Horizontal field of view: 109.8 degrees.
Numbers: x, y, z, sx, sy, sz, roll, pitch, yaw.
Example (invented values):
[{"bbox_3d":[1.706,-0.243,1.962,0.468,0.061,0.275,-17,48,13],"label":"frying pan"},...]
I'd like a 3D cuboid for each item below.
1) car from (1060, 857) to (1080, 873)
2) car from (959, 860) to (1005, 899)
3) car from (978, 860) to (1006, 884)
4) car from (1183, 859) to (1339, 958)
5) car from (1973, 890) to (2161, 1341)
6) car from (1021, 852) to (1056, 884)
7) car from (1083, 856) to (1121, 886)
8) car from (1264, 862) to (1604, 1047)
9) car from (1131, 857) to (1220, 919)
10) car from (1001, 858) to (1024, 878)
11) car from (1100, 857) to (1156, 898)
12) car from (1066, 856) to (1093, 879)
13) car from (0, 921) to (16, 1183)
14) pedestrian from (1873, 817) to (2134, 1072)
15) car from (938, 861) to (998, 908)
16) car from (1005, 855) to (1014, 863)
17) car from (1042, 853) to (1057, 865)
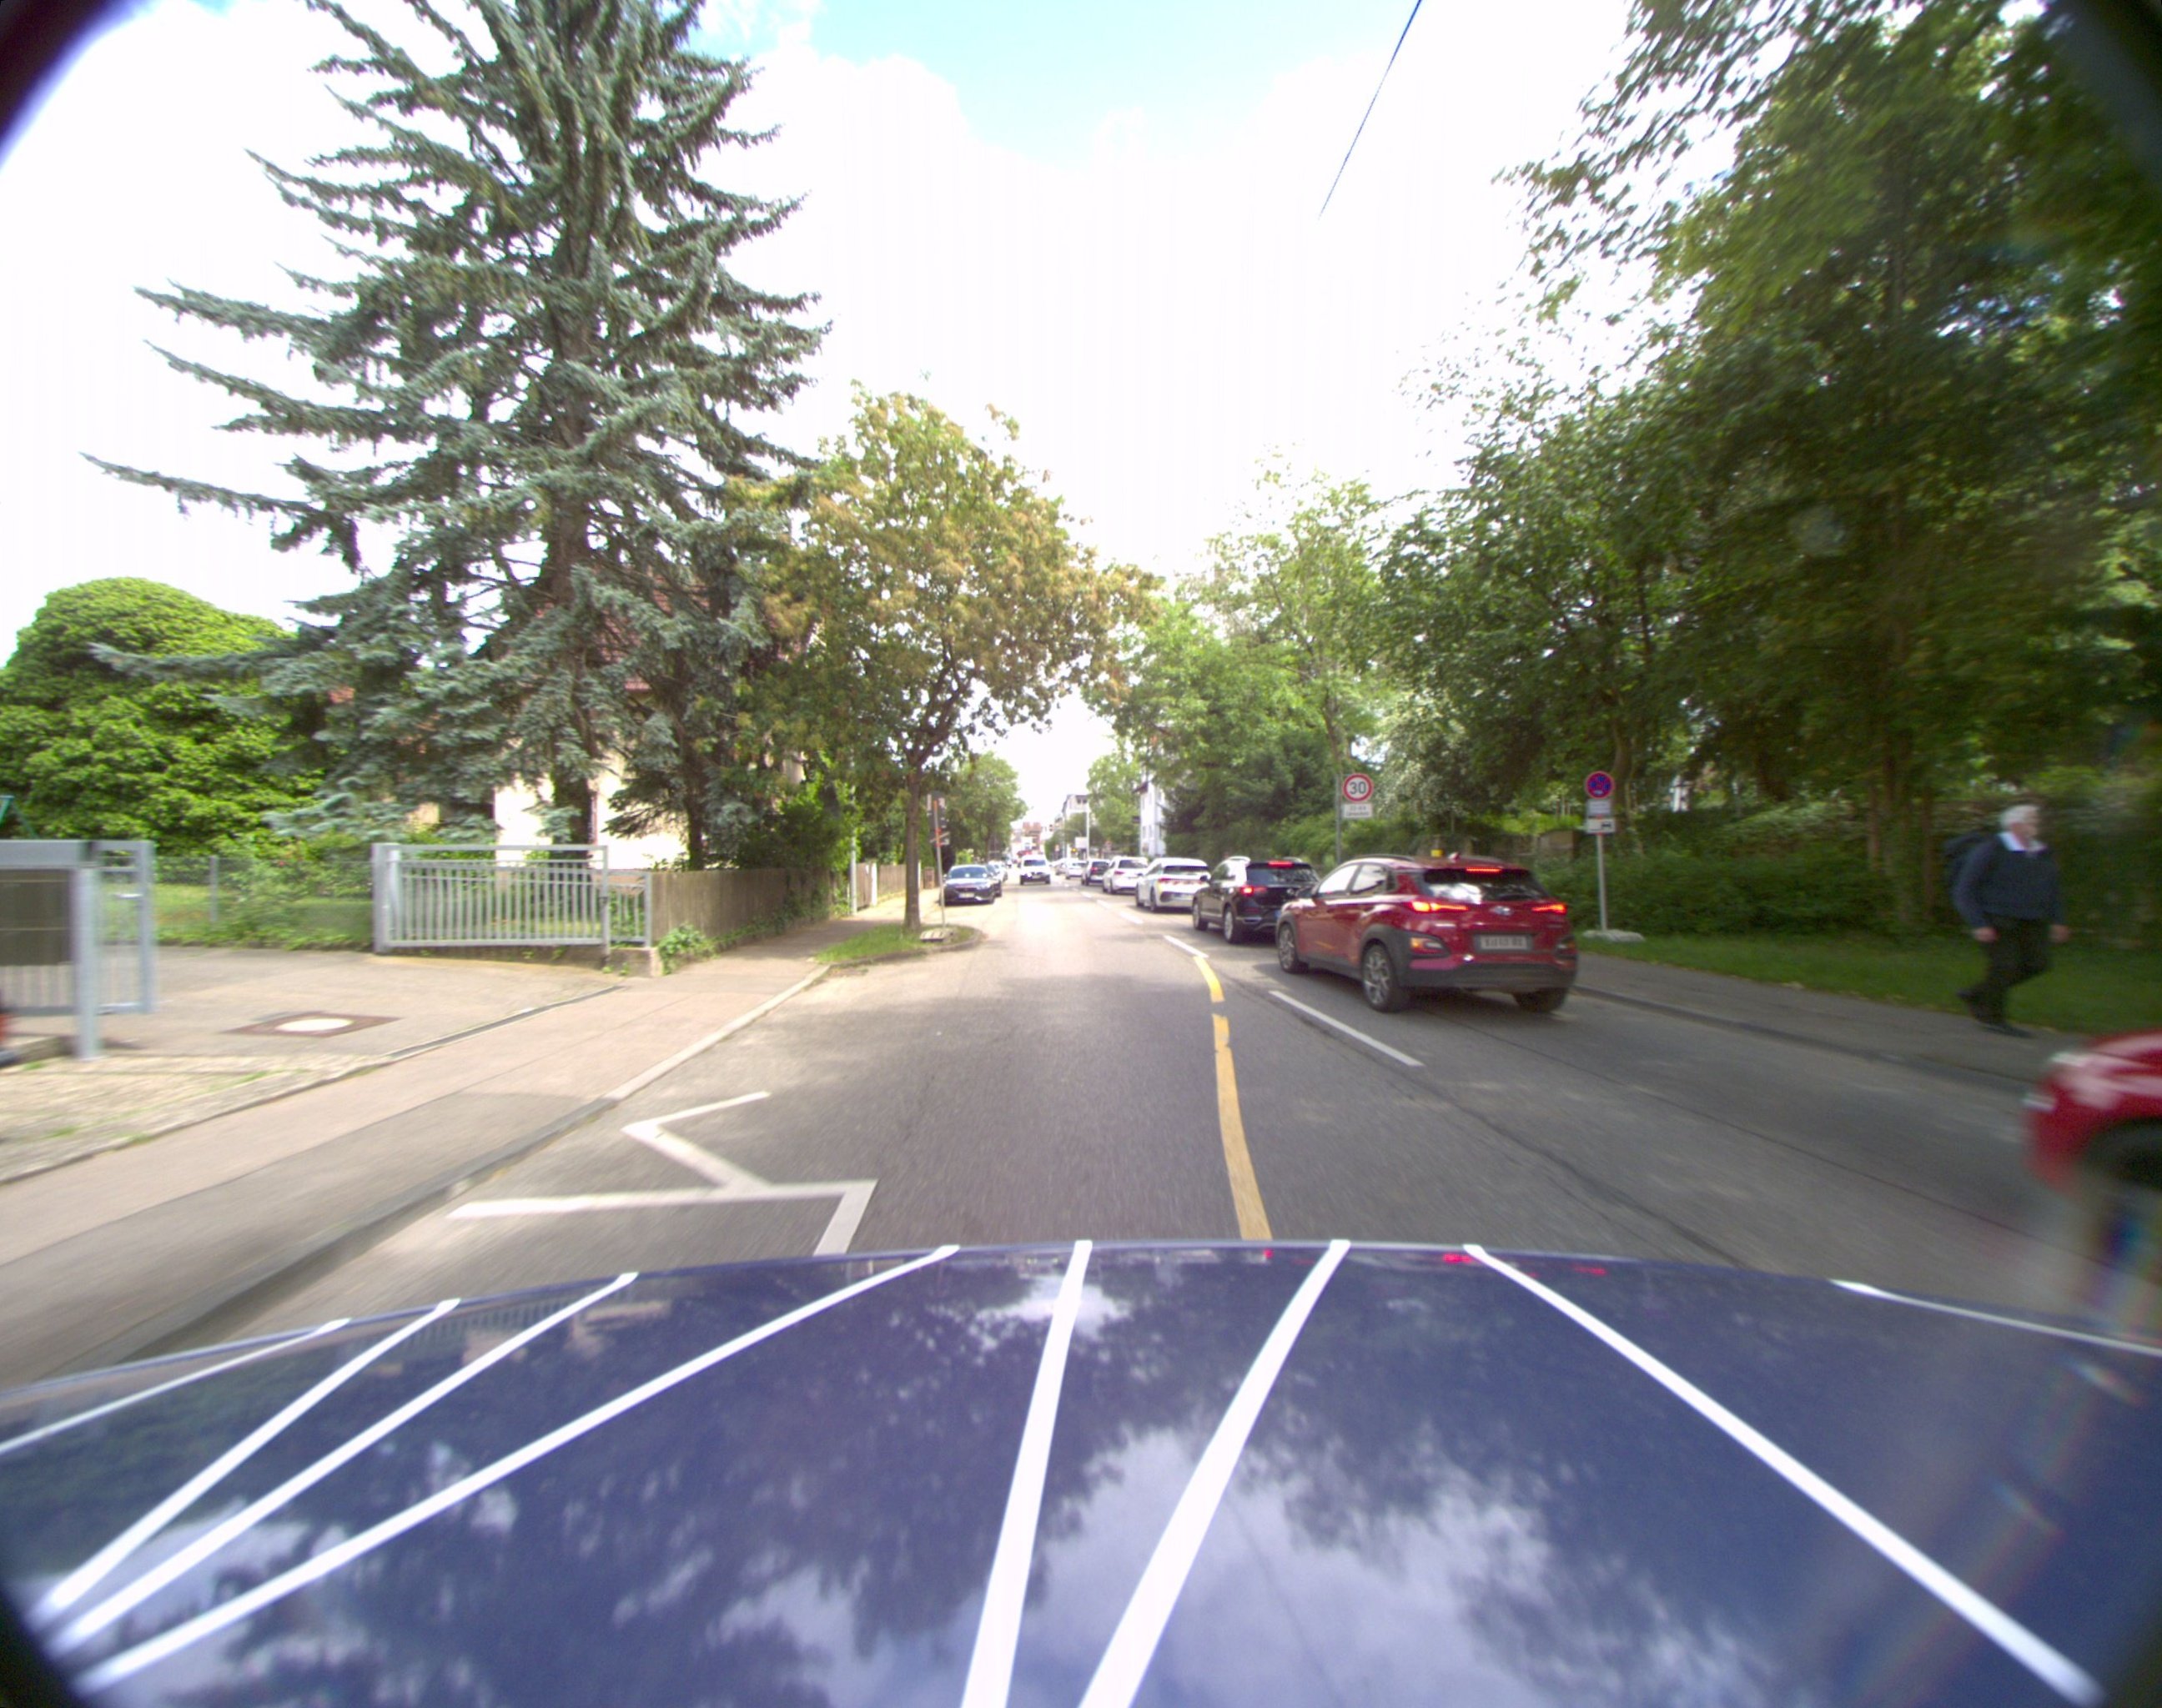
[{"bbox_3d":[-1.071,1.051,72.612,1.542,1.368,4.160,2,1,-5],"label":"car"},{"bbox_3d":[-4.230,1.060,32.849,1.768,1.483,3.858,-2,0,-5],"label":"car"},{"bbox_3d":[-6.082,1.190,52.468,1.768,1.483,3.576,-2,1,-5],"label":"car"},{"bbox_3d":[3.289,0.922,14.710,1.762,1.581,3.967,0,1,-5],"label":"car"},{"bbox_3d":[4.543,0.910,1.362,1.619,1.514,3.569,1,0,-2],"label":"car"},{"bbox_3d":[-2.702,0.807,47.174,1.966,1.796,4.426,-2,1,-5],"label":"car"},{"bbox_3d":[1.183,0.969,44.906,1.762,1.581,4.160,2,1,-5],"label":"car"},{"bbox_3d":[3.587,0.912,8.662,1.781,1.547,4.000,1,0,-4],"label":"car"},{"bbox_3d":[2.689,0.931,22.588,1.762,1.581,4.001,2,1,-5],"label":"car"},{"bbox_3d":[-5.702,1.169,63.201,1.768,1.483,3.576,-2,1,-5],"label":"car"},{"bbox_3d":[1.991,0.974,33.370,1.762,1.581,4.160,2,1,-5],"label":"car"},{"bbox_3d":[-0.173,0.956,56.725,1.619,1.581,4.160,2,1,-5],"label":"car"},{"bbox_3d":[-5.931,0.968,1.510,1.790,1.276,4.314,1,0,-6],"label":"car"},{"bbox_3d":[7.264,0.656,6.053,0.835,1.836,1.021,-2,1,-2],"label":"pedestrian"},{"bbox_3d":[-4.085,1.061,28.025,1.939,1.483,4.020,-2,1,-5],"label":"car"},{"bbox_3d":[-12.051,0.797,128.323,1.535,1.308,3.576,-2,1,-5],"label":"car"},{"bbox_3d":[-4.082,0.630,98.529,1.768,1.495,3.514,-2,1,-5],"label":"car"}]
